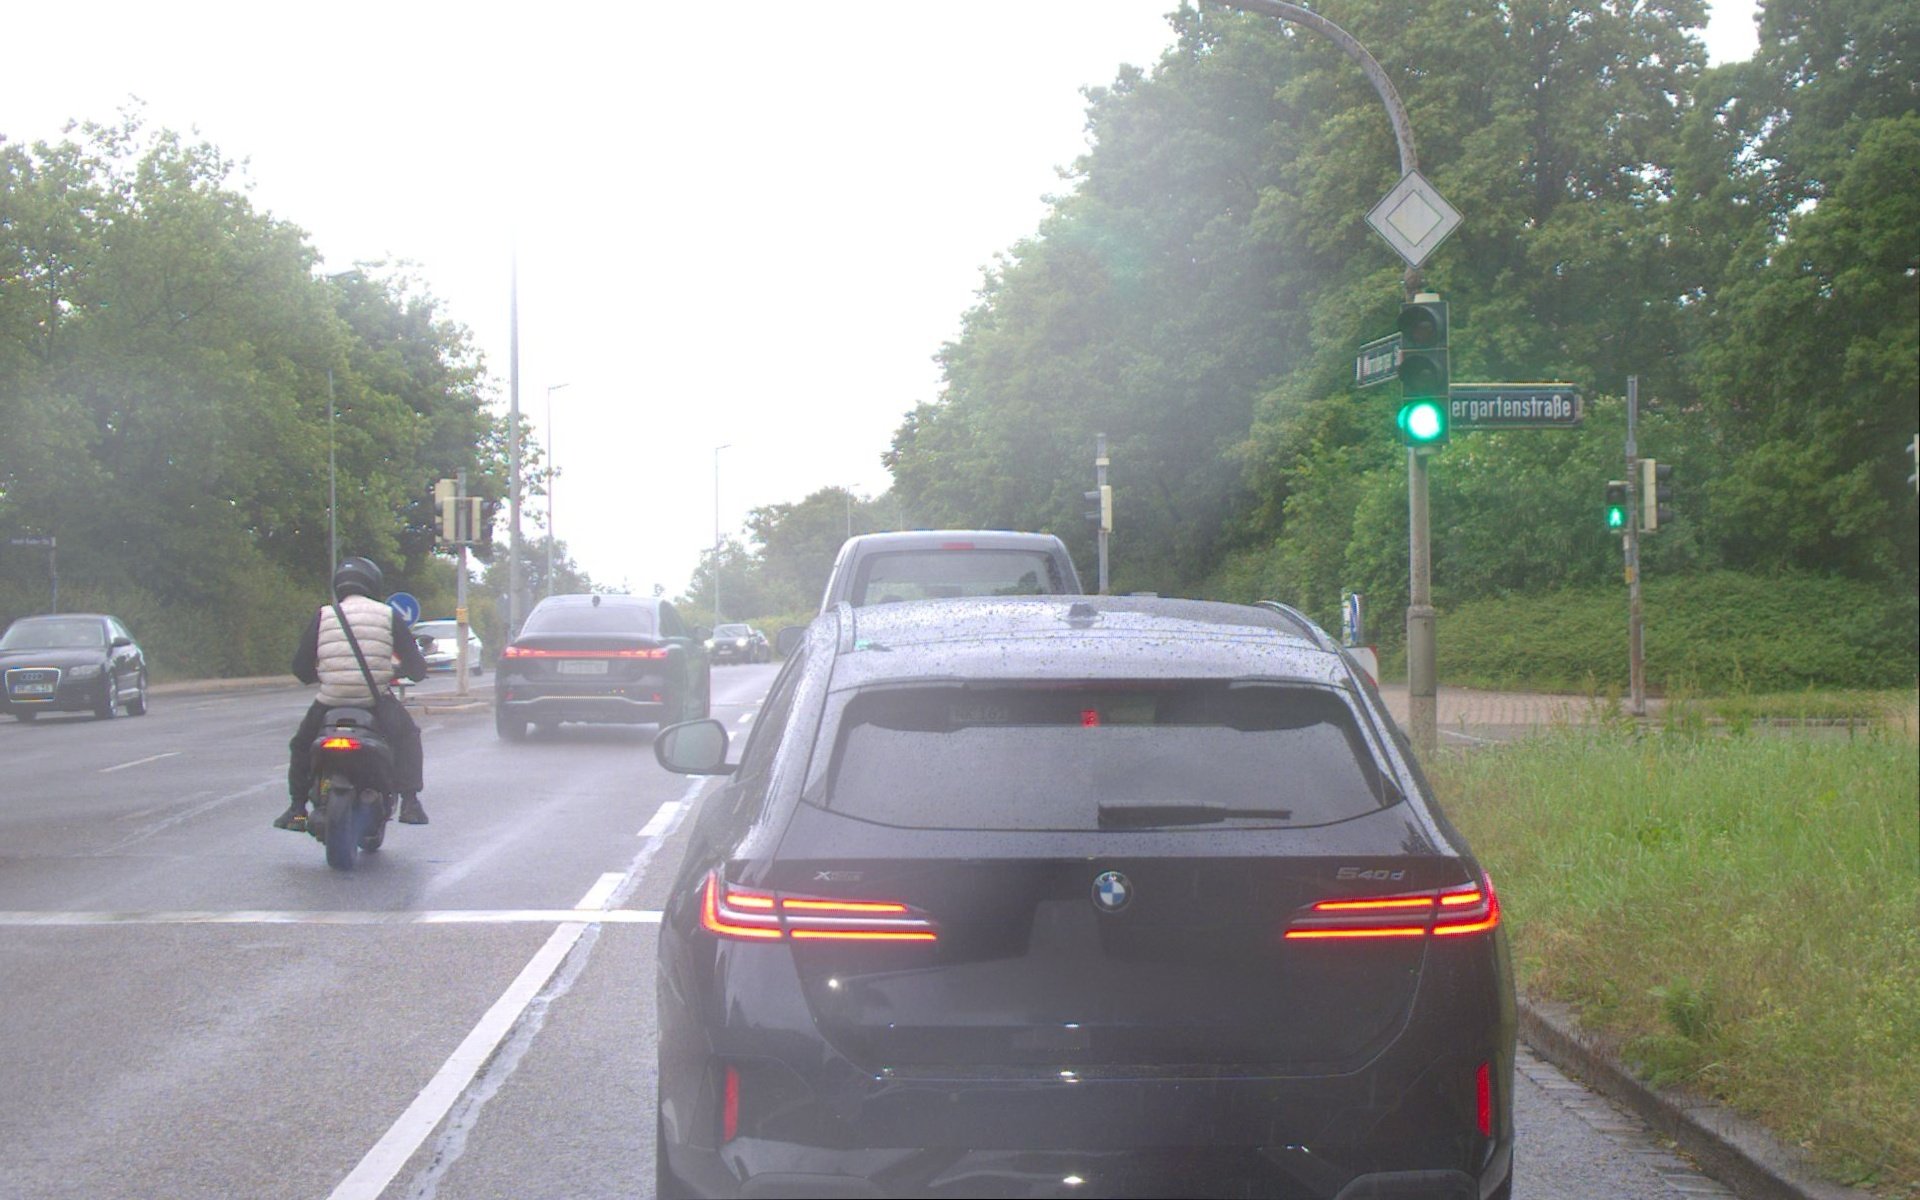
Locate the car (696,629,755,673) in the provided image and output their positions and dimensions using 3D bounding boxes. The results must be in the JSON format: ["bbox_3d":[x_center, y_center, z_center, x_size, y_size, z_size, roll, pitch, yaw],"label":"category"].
[{"bbox_3d":[-8.822,1.922,129.757,2.025,1.558,3.877,-2,0,-2],"label":"car"}]

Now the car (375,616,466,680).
[{"bbox_3d":[-13.820,1.215,88.249,1.727,1.480,4.157,-2,0,-2],"label":"car"}]

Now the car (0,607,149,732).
[{"bbox_3d":[-11.868,0.881,44.994,1.862,1.487,3.834,-1,1,-5],"label":"car"}]

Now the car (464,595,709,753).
[{"bbox_3d":[-3.672,0.696,34.512,2.014,1.410,4.486,0,1,-1],"label":"car"}]

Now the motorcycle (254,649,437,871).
[{"bbox_3d":[-3.310,0.845,18.630,0.741,1.116,1.426,1,0,-1],"label":"motorcycle"}]

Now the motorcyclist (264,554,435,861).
[{"bbox_3d":[-3.306,0.575,18.658,0.845,1.641,0.468,0,0,-1],"label":"motorcyclist"}]

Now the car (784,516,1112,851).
[{"bbox_3d":[-0.088,0.427,20.612,1.767,1.804,3.905,0,1,-1],"label":"car"}]

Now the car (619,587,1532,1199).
[{"bbox_3d":[0.201,0.741,8.509,1.764,1.531,3.673,0,0,-1],"label":"car"}]
